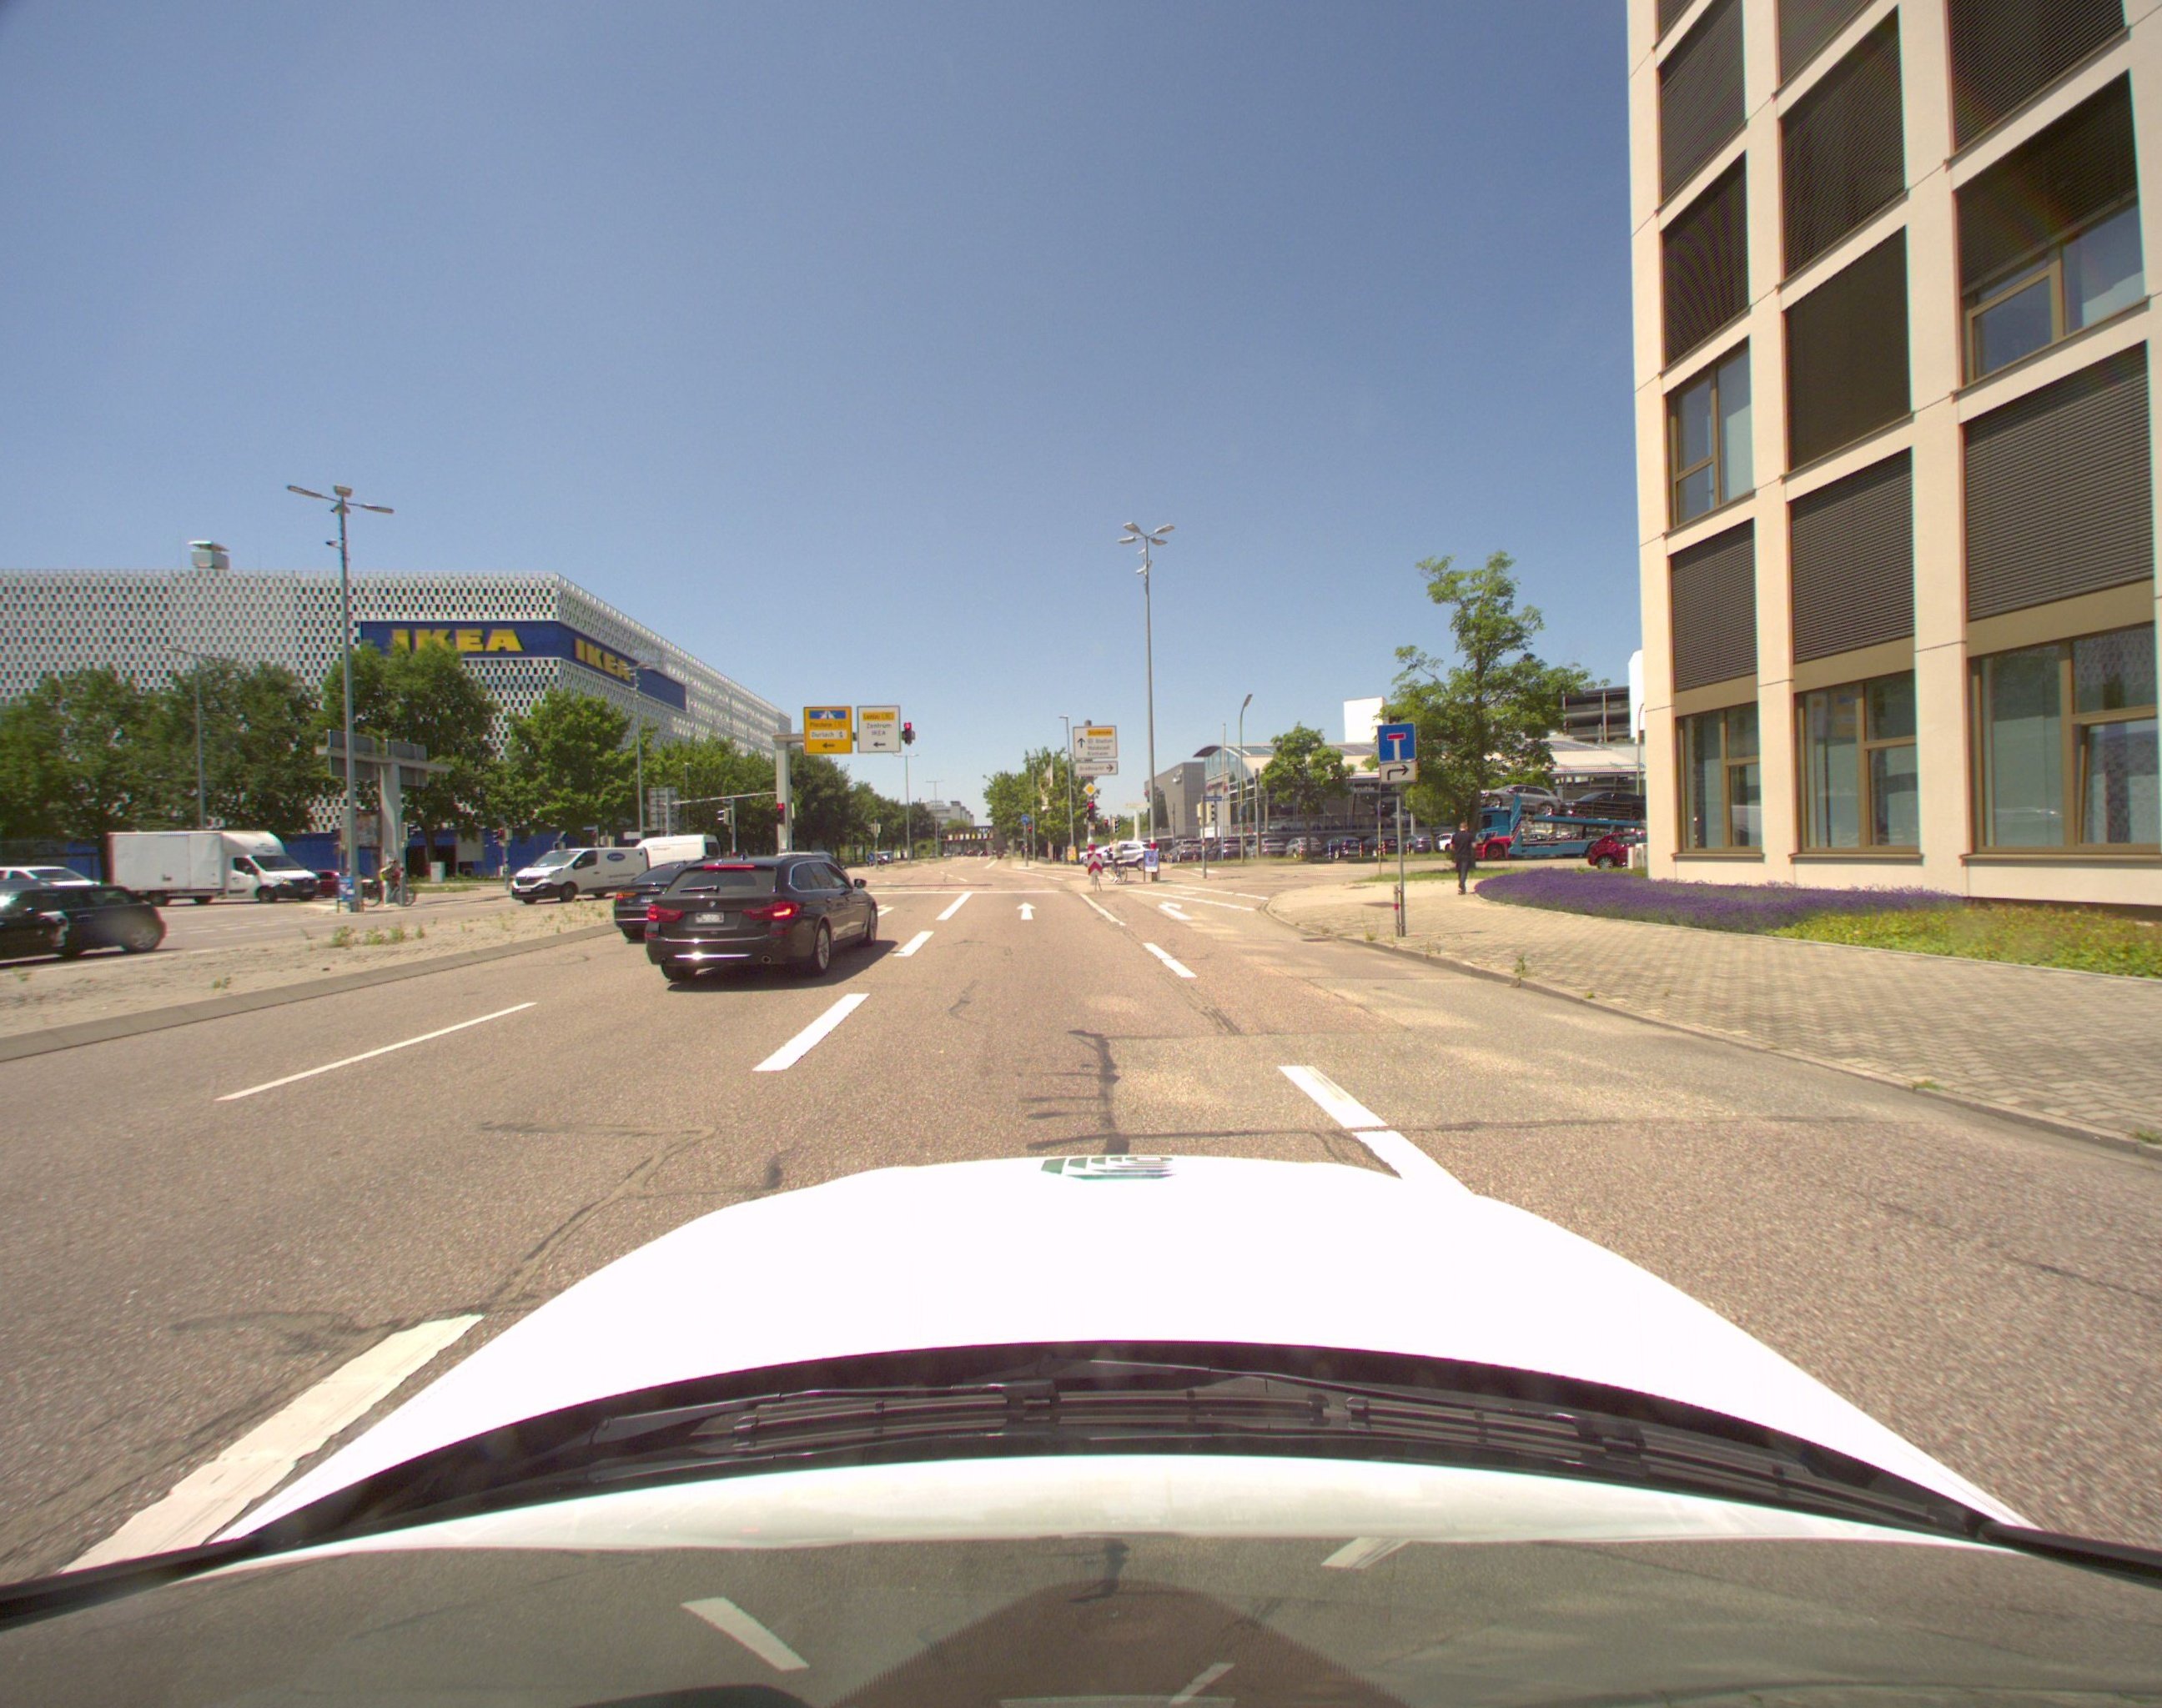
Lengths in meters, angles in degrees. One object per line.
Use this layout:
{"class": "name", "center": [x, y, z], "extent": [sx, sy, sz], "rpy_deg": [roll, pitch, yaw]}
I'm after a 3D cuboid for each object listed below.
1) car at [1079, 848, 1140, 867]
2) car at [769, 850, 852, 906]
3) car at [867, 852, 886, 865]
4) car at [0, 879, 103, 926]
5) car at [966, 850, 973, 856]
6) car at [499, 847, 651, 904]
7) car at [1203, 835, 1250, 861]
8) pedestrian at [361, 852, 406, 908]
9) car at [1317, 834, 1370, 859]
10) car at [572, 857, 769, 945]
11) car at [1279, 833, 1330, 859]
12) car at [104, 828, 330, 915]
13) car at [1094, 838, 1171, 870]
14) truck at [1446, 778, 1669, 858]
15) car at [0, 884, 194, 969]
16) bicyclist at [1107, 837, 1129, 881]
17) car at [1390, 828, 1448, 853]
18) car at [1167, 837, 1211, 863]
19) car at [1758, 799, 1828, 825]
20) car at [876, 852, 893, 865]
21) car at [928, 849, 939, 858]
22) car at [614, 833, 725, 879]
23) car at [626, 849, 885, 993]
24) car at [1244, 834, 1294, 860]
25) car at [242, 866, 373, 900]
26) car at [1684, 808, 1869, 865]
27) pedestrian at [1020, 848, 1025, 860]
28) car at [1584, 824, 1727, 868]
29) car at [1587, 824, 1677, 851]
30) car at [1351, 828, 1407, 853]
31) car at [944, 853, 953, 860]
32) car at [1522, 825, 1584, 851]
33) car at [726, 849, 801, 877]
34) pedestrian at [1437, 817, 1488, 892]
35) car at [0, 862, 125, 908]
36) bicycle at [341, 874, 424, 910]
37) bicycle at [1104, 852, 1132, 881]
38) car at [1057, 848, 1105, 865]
{"class": "car", "center": [2.348, 0.278, 67.792], "extent": [4.737, 1.457, 1.995], "rpy_deg": [-2, 1, -7]}
{"class": "car", "center": [-7.949, 0.645, 24.270], "extent": [1.798, 1.494, 3.985], "rpy_deg": [-1, 0, -11]}
{"class": "car", "center": [-28.030, 0.604, 111.726], "extent": [1.872, 1.598, 4.488], "rpy_deg": [-2, 0, -5]}
{"class": "car", "center": [-37.726, 1.724, 28.828], "extent": [3.969, 1.508, 1.935], "rpy_deg": [-2, 0, 4]}
{"class": "car", "center": [-31.277, -0.303, 228.910], "extent": [1.769, 1.728, 3.992], "rpy_deg": [-2, 0, -5]}
{"class": "car", "center": [-18.656, 0.728, 30.344], "extent": [1.817, 1.850, 4.860], "rpy_deg": [-1, 1, 15]}
{"class": "car", "center": [9.812, -0.444, 55.415], "extent": [1.991, 1.639, 4.549], "rpy_deg": [-2, 1, -5]}
{"class": "pedestrian", "center": [-26.101, 0.962, 30.485], "extent": [0.905, 2.013, 0.862], "rpy_deg": [-2, 1, -11]}
{"class": "car", "center": [18.035, -0.539, 56.176], "extent": [1.825, 1.639, 4.466], "rpy_deg": [-2, 1, -5]}
{"class": "car", "center": [-7.763, 0.805, 15.967], "extent": [1.744, 1.390, 4.527], "rpy_deg": [-1, 0, -3]}
{"class": "car", "center": [15.220, -0.580, 55.800], "extent": [1.882, 1.639, 4.516], "rpy_deg": [-2, 1, -5]}
{"class": "car", "center": [-37.489, 0.683, 35.529], "extent": [6.890, 3.485, 2.180], "rpy_deg": [-2, 2, -5]}
{"class": "car", "center": [2.863, -0.021, 45.285], "extent": [4.175, 1.651, 1.717], "rpy_deg": [-1, 0, 5]}
{"class": "truck", "center": [26.027, -1.918, 44.794], "extent": [10.589, 4.082, 3.098], "rpy_deg": [-1, 0, -2]}
{"class": "car", "center": [-19.501, 1.354, 15.047], "extent": [1.849, 1.302, 3.894], "rpy_deg": [-3, 1, 1]}
{"class": "bicyclist", "center": [1.502, 0.187, 33.209], "extent": [0.733, 1.749, 0.751], "rpy_deg": [0, 1, -10]}
{"class": "car", "center": [23.361, -0.935, 56.453], "extent": [1.825, 1.639, 4.466], "rpy_deg": [-2, 1, -5]}
{"class": "car", "center": [7.268, -0.267, 55.107], "extent": [1.991, 1.639, 4.260], "rpy_deg": [-2, 1, -5]}
{"class": "car", "center": [61.894, -3.656, 70.859], "extent": [1.992, 2.013, 4.339], "rpy_deg": [-2, 1, -8]}
{"class": "car", "center": [-31.306, 0.699, 129.902], "extent": [1.990, 2.007, 4.755], "rpy_deg": [-2, 0, -5]}
{"class": "car", "center": [-35.859, -0.129, 198.213], "extent": [1.988, 2.014, 3.997], "rpy_deg": [-1, -1, -2]}
{"class": "car", "center": [-23.831, 0.099, 47.262], "extent": [5.465, 2.566, 2.002], "rpy_deg": [-1, 0, 4]}
{"class": "car", "center": [-4.062, 0.703, 11.100], "extent": [1.796, 1.465, 4.619], "rpy_deg": [-2, 1, -3]}
{"class": "car", "center": [12.746, -0.507, 55.586], "extent": [1.991, 1.639, 4.433], "rpy_deg": [-2, 1, -5]}
{"class": "car", "center": [-36.451, 1.358, 38.477], "extent": [4.274, 1.342, 1.774], "rpy_deg": [-2, 1, -4]}
{"class": "car", "center": [24.611, -0.577, 29.008], "extent": [4.844, 1.815, 1.716], "rpy_deg": [-2, 0, 42]}
{"class": "pedestrian", "center": [-7.504, 0.045, 104.616], "extent": [0.667, 1.510, 0.734], "rpy_deg": [-2, 0, -6]}
{"class": "car", "center": [20.541, -0.270, 29.224], "extent": [3.950, 1.435, 1.620], "rpy_deg": [-2, 0, 44]}
{"class": "car", "center": [37.087, -1.103, 54.940], "extent": [4.711, 1.639, 1.842], "rpy_deg": [-2, 1, 17]}
{"class": "car", "center": [20.629, -0.937, 56.513], "extent": [1.825, 1.639, 4.465], "rpy_deg": [-1, 1, -6]}
{"class": "car", "center": [-36.179, 0.713, 221.710], "extent": [1.922, 1.665, 4.085], "rpy_deg": [-2, 0, -3]}
{"class": "car", "center": [34.786, -1.166, 60.107], "extent": [3.668, 1.777, 1.757], "rpy_deg": [-1, 0, 21]}
{"class": "car", "center": [-17.212, 0.483, 44.212], "extent": [3.358, 1.357, 1.623], "rpy_deg": [-2, 0, -2]}
{"class": "pedestrian", "center": [9.777, 0.016, 20.900], "extent": [0.871, 1.844, 0.765], "rpy_deg": [-3, 0, -33]}
{"class": "car", "center": [-45.555, 1.346, 35.367], "extent": [5.439, 1.811, 1.999], "rpy_deg": [-2, 0, -2]}
{"class": "bicycle", "center": [-26.130, 1.419, 30.491], "extent": [2.093, 1.212, 0.993], "rpy_deg": [-2, 1, -11]}
{"class": "bicycle", "center": [1.505, 0.485, 33.391], "extent": [0.786, 1.127, 1.915], "rpy_deg": [-1, 1, -9]}
{"class": "car", "center": [-0.035, 0.261, 84.042], "extent": [4.737, 1.457, 1.995], "rpy_deg": [-3, 1, -7]}
